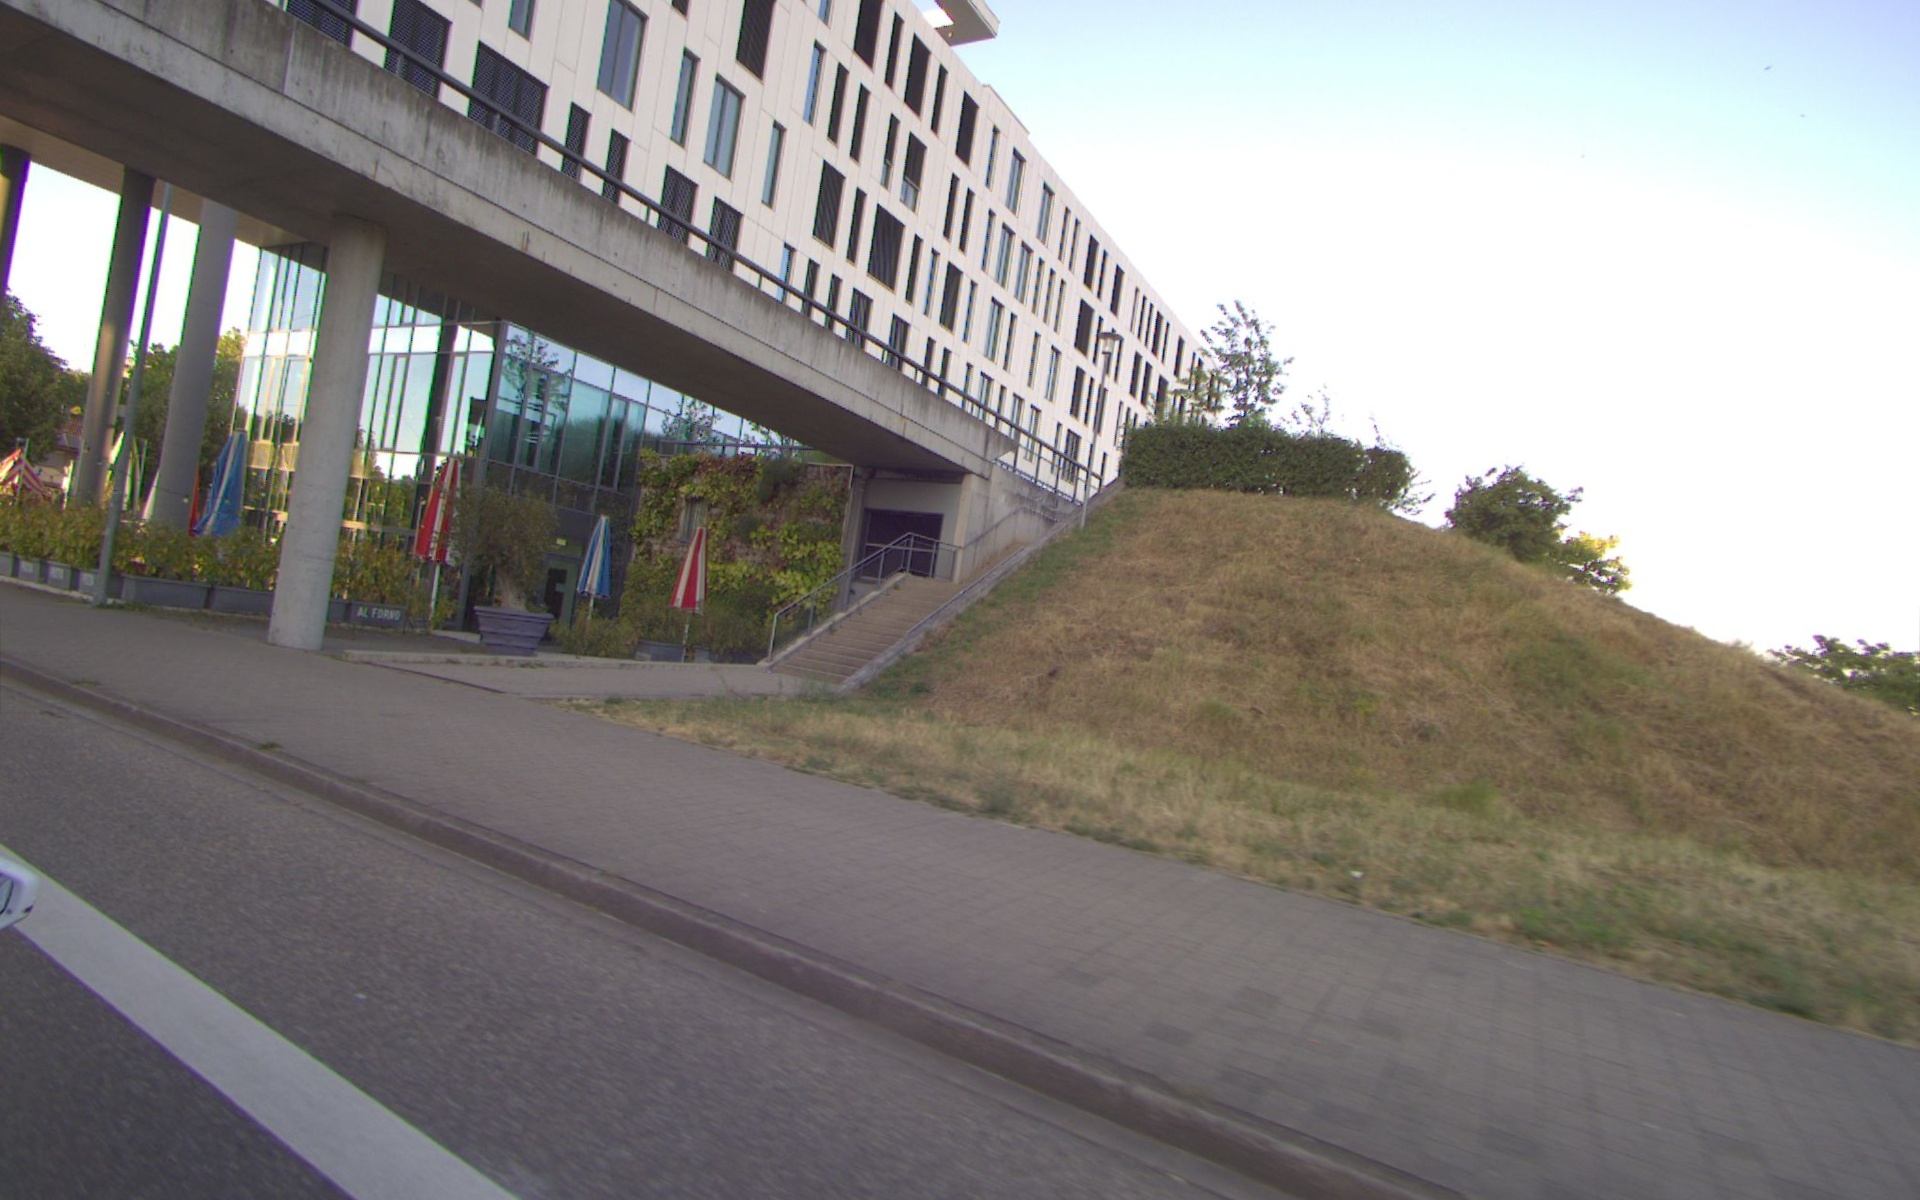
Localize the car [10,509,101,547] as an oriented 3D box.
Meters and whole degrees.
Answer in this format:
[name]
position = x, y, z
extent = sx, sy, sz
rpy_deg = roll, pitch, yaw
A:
[car]
position = -66.602, -5.259, 74.142
extent = 1.913, 1.837, 4.477
rpy_deg = 9, -2, 33
